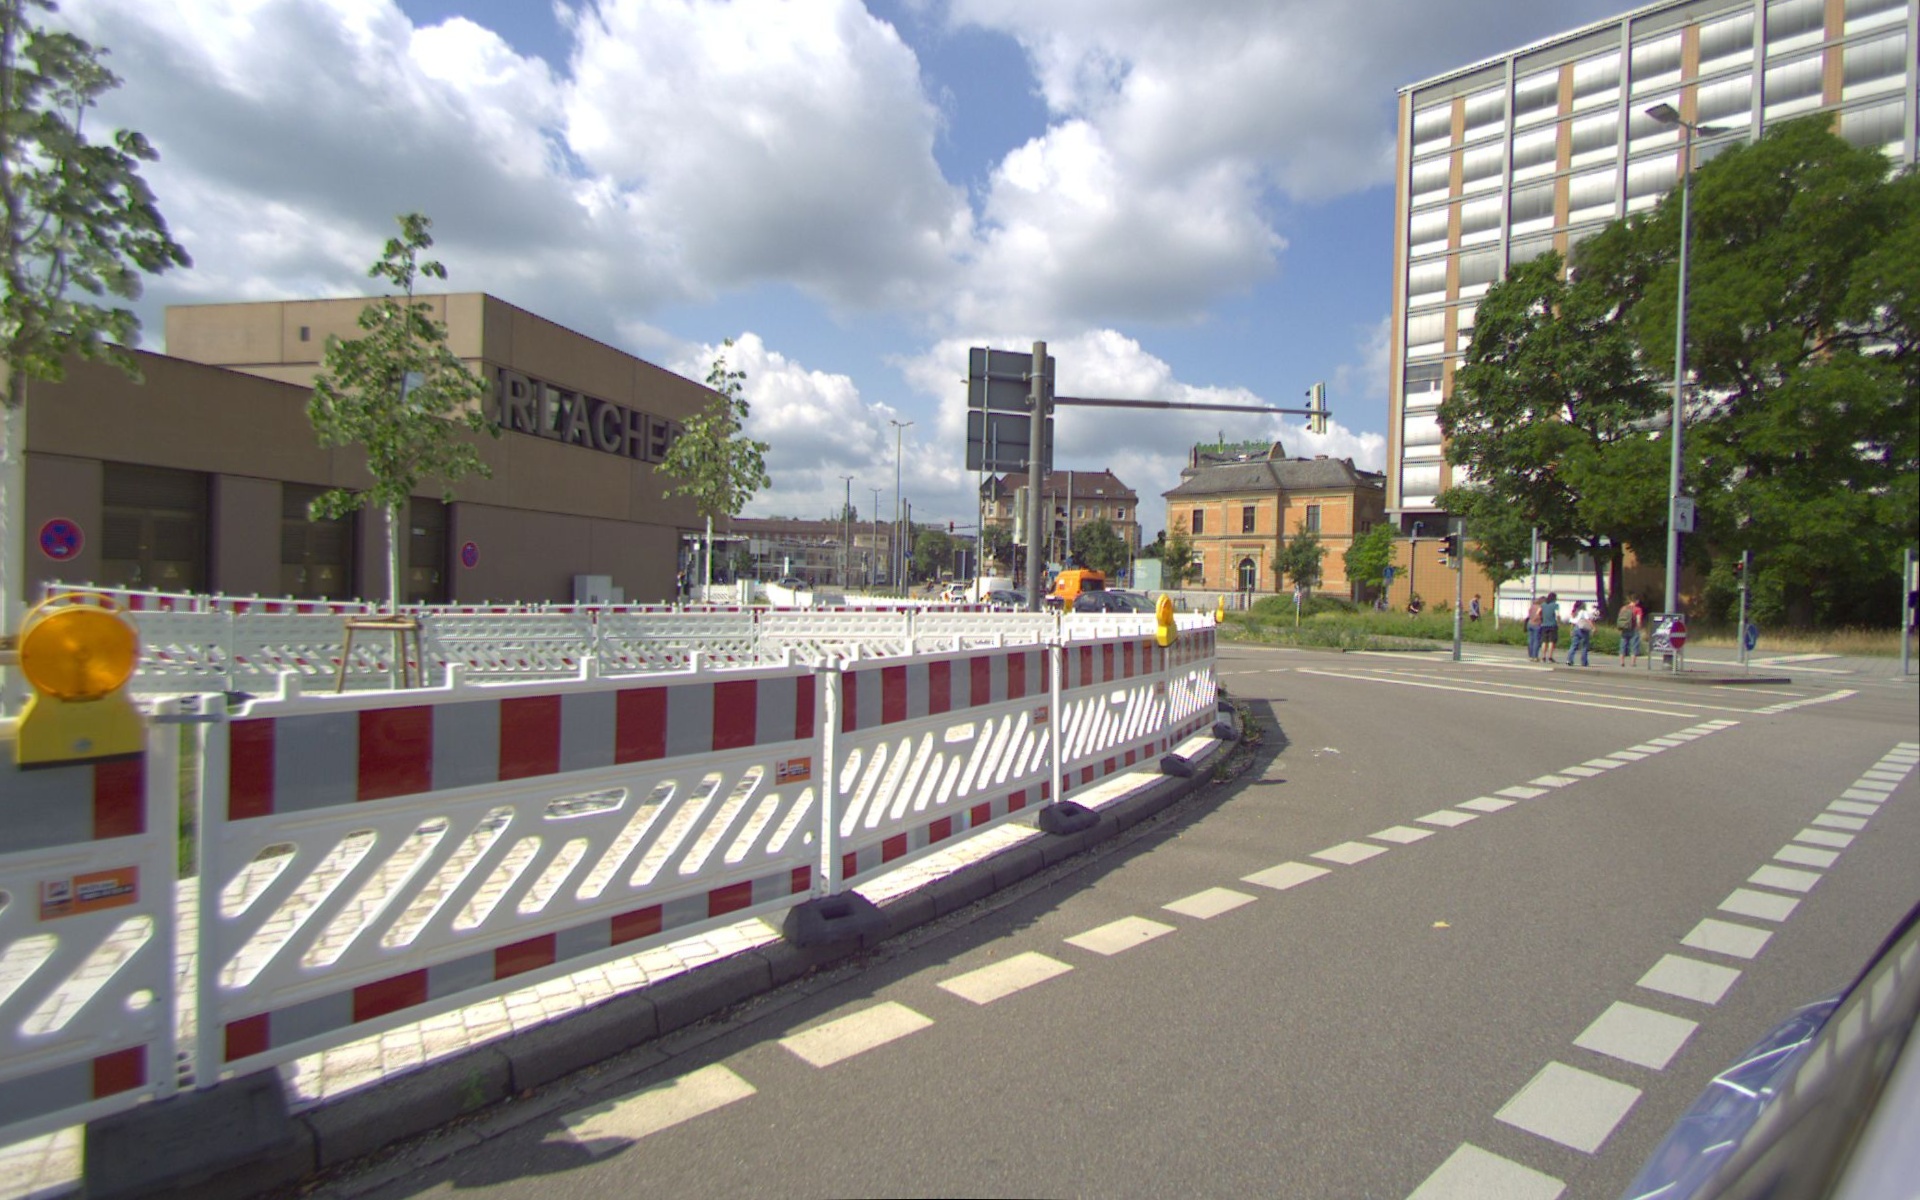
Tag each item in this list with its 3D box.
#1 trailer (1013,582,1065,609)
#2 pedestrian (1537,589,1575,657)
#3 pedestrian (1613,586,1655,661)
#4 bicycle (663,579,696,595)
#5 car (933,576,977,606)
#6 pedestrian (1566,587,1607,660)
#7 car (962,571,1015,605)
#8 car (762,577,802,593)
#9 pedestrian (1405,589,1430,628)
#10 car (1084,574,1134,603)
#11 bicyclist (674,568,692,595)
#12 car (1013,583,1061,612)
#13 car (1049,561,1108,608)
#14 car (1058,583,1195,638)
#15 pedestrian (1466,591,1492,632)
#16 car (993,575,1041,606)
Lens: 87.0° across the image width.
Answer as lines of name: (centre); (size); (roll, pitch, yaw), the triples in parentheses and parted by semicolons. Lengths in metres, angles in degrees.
trailer: (4.709, -0.297, 60.799); (1.958, 1.495, 4.009); (1, 1, -13)
pedestrian: (15.277, 0.589, 25.942); (0.516, 1.705, 0.624); (1, 1, -29)
pedestrian: (16.237, 0.554, 24.371); (0.516, 1.755, 0.624); (1, 1, -29)
bicycle: (-20.901, -0.960, 75.463); (2.336, 1.080, 0.860); (1, 1, -18)
car: (-0.390, -0.642, 69.680); (1.956, 1.963, 4.649); (1, 1, -15)
pedestrian: (15.355, 0.573, 24.813); (0.516, 1.755, 0.624); (1, 1, -29)
car: (1.709, -0.765, 61.858); (1.970, 1.991, 4.649); (1, 1, -15)
car: (-19.261, -1.643, 109.451); (3.924, 1.660, 1.729); (0, 1, -35)
pedestrian: (21.503, 0.382, 47.531); (0.774, 1.806, 0.668); (1, 1, -18)
car: (9.786, -0.800, 66.771); (1.958, 1.817, 4.009); (1, 1, -13)
bicyclist: (-20.692, -1.382, 75.529); (1.197, 1.933, 0.860); (1, 1, -18)
car: (5.478, -0.186, 72.724); (1.956, 1.963, 4.649); (1, 1, -15)
car: (7.418, -0.971, 63.720); (2.092, 2.815, 4.649); (1, 1, -15)
car: (4.743, 0.271, 29.447); (1.761, 1.405, 4.235); (2, 1, -26)
pedestrian: (23.376, 0.499, 45.592); (0.774, 1.806, 0.668); (1, 1, -22)
car: (3.580, -0.635, 64.389); (1.958, 1.849, 4.009); (1, 1, -13)
